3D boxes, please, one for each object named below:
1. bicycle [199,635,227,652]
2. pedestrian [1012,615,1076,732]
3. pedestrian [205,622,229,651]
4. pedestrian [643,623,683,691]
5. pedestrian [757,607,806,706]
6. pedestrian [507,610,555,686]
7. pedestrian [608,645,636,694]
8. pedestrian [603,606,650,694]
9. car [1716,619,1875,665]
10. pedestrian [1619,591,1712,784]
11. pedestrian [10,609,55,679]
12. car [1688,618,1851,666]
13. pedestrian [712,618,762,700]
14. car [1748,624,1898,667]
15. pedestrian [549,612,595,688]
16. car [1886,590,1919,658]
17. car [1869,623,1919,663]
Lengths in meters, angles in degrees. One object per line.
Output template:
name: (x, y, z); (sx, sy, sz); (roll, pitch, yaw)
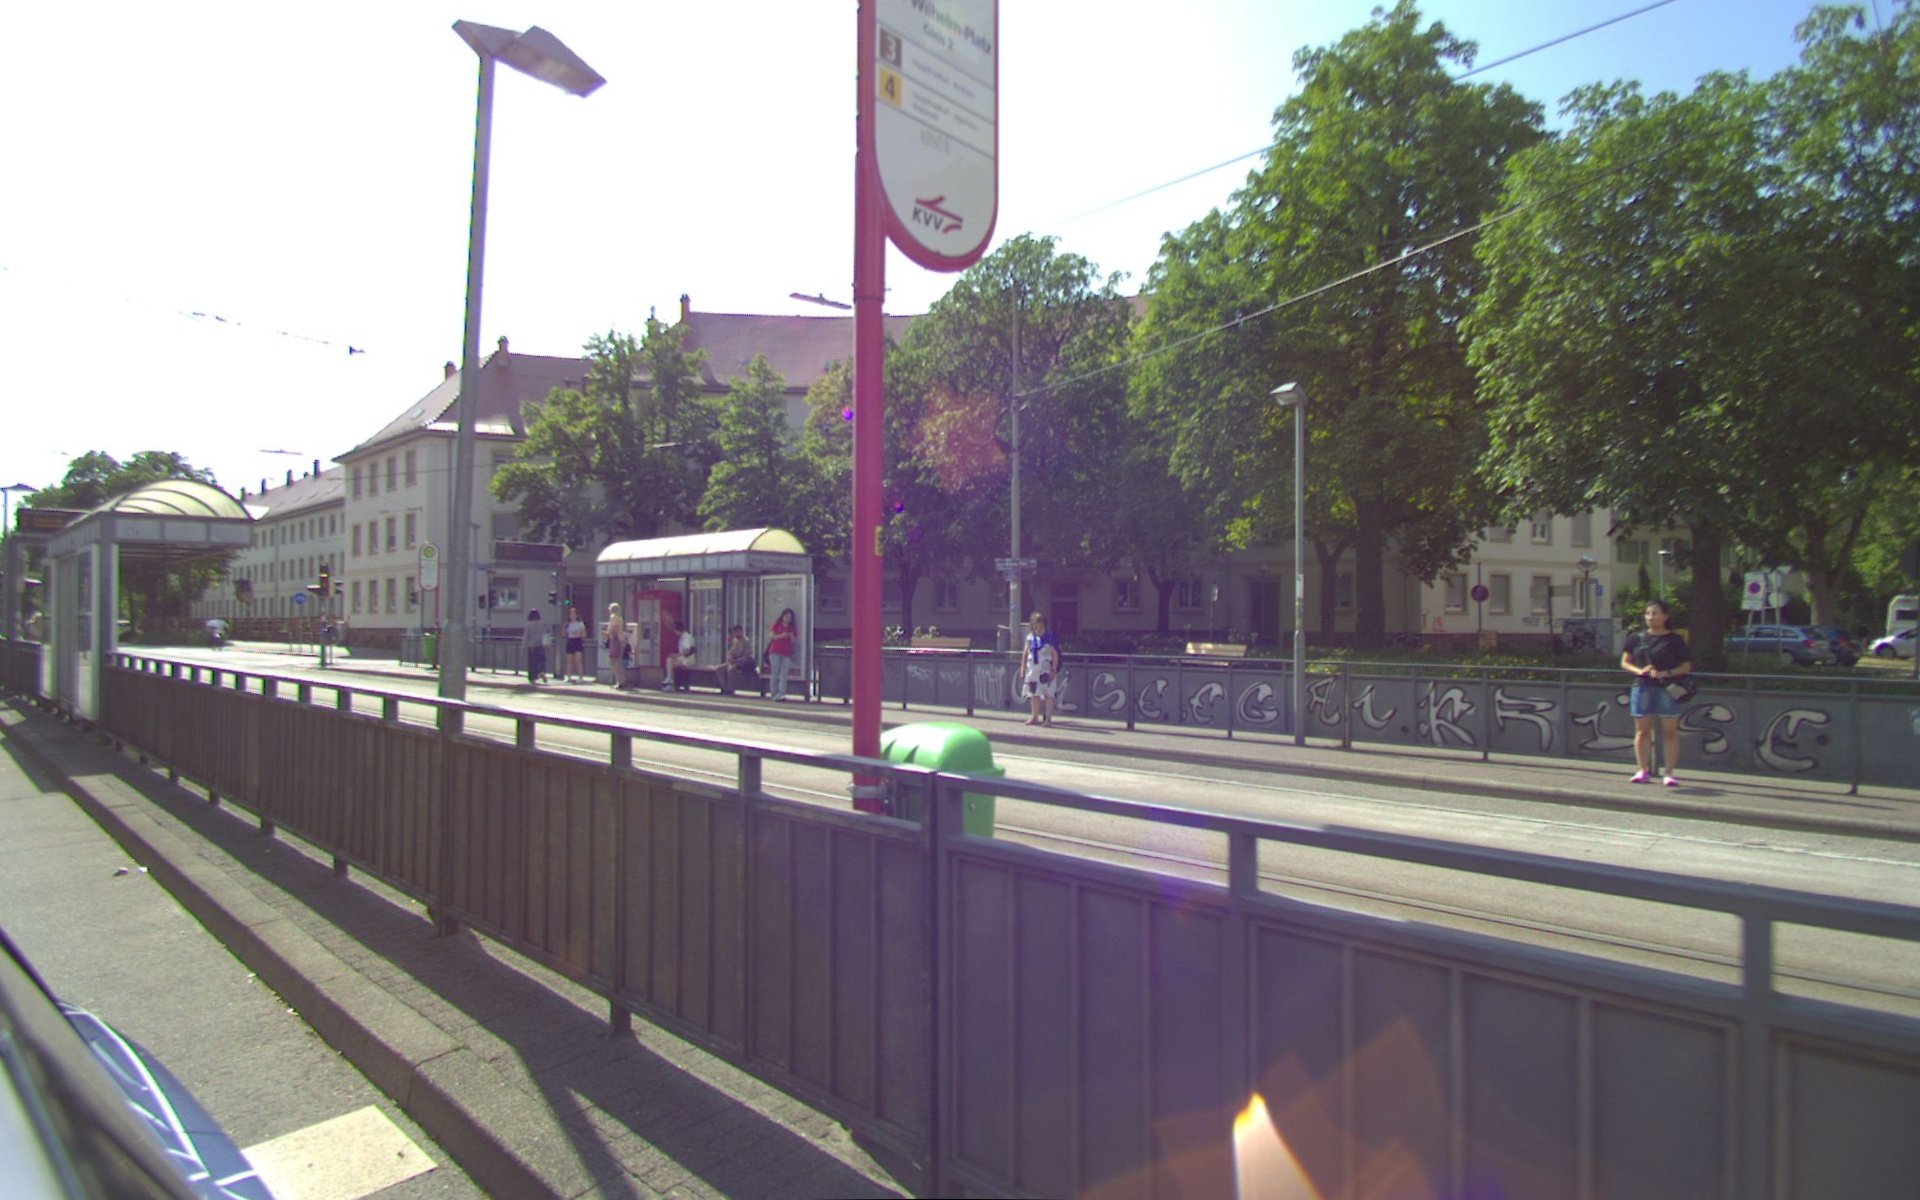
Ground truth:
bicycle: (-38.604, 2.253, 52.279); (1.617, 0.855, 0.746); (-1, -2, 39)
pedestrian: (1.114, 0.960, 13.477); (0.704, 1.515, 0.423); (-1, -3, 43)
pedestrian: (-38.241, 1.892, 52.085); (0.806, 1.485, 0.795); (-1, -2, 38)
pedestrian: (-5.944, 1.142, 20.260); (0.405, 1.347, 0.597); (0, -4, 37)
pedestrian: (-3.097, 0.962, 17.563); (0.746, 1.669, 0.467); (-1, -2, 42)
pedestrian: (-9.326, 1.050, 22.028); (0.637, 1.619, 0.649); (0, -4, 37)
pedestrian: (-6.658, 1.366, 19.920); (0.345, 0.937, 0.336); (0, -4, 37)
pedestrian: (-6.532, 0.972, 19.824); (0.677, 1.682, 0.492); (0, -4, 37)
car: (32.325, 1.583, 39.286); (1.966, 1.688, 4.330); (1, -2, -31)
pedestrian: (5.973, 0.724, 8.571); (0.516, 1.554, 0.531); (-4, -4, 42)
pedestrian: (-21.009, 0.978, 22.914); (0.557, 1.544, 0.693); (-1, 0, 42)
car: (30.212, 1.547, 37.922); (1.966, 1.688, 4.330); (1, -2, -31)
pedestrian: (-4.084, 1.078, 18.514); (0.692, 1.468, 0.523); (-1, -4, 41)
car: (35.971, 1.848, 42.336); (1.965, 1.688, 4.331); (1, -2, -25)
pedestrian: (-8.687, 1.115, 22.649); (0.638, 1.654, 0.648); (-1, -5, 42)
car: (48.152, 1.134, 47.264); (2.136, 3.273, 6.887); (1, -2, -26)
car: (42.237, 1.842, 43.431); (1.965, 1.688, 4.331); (1, -2, -25)
